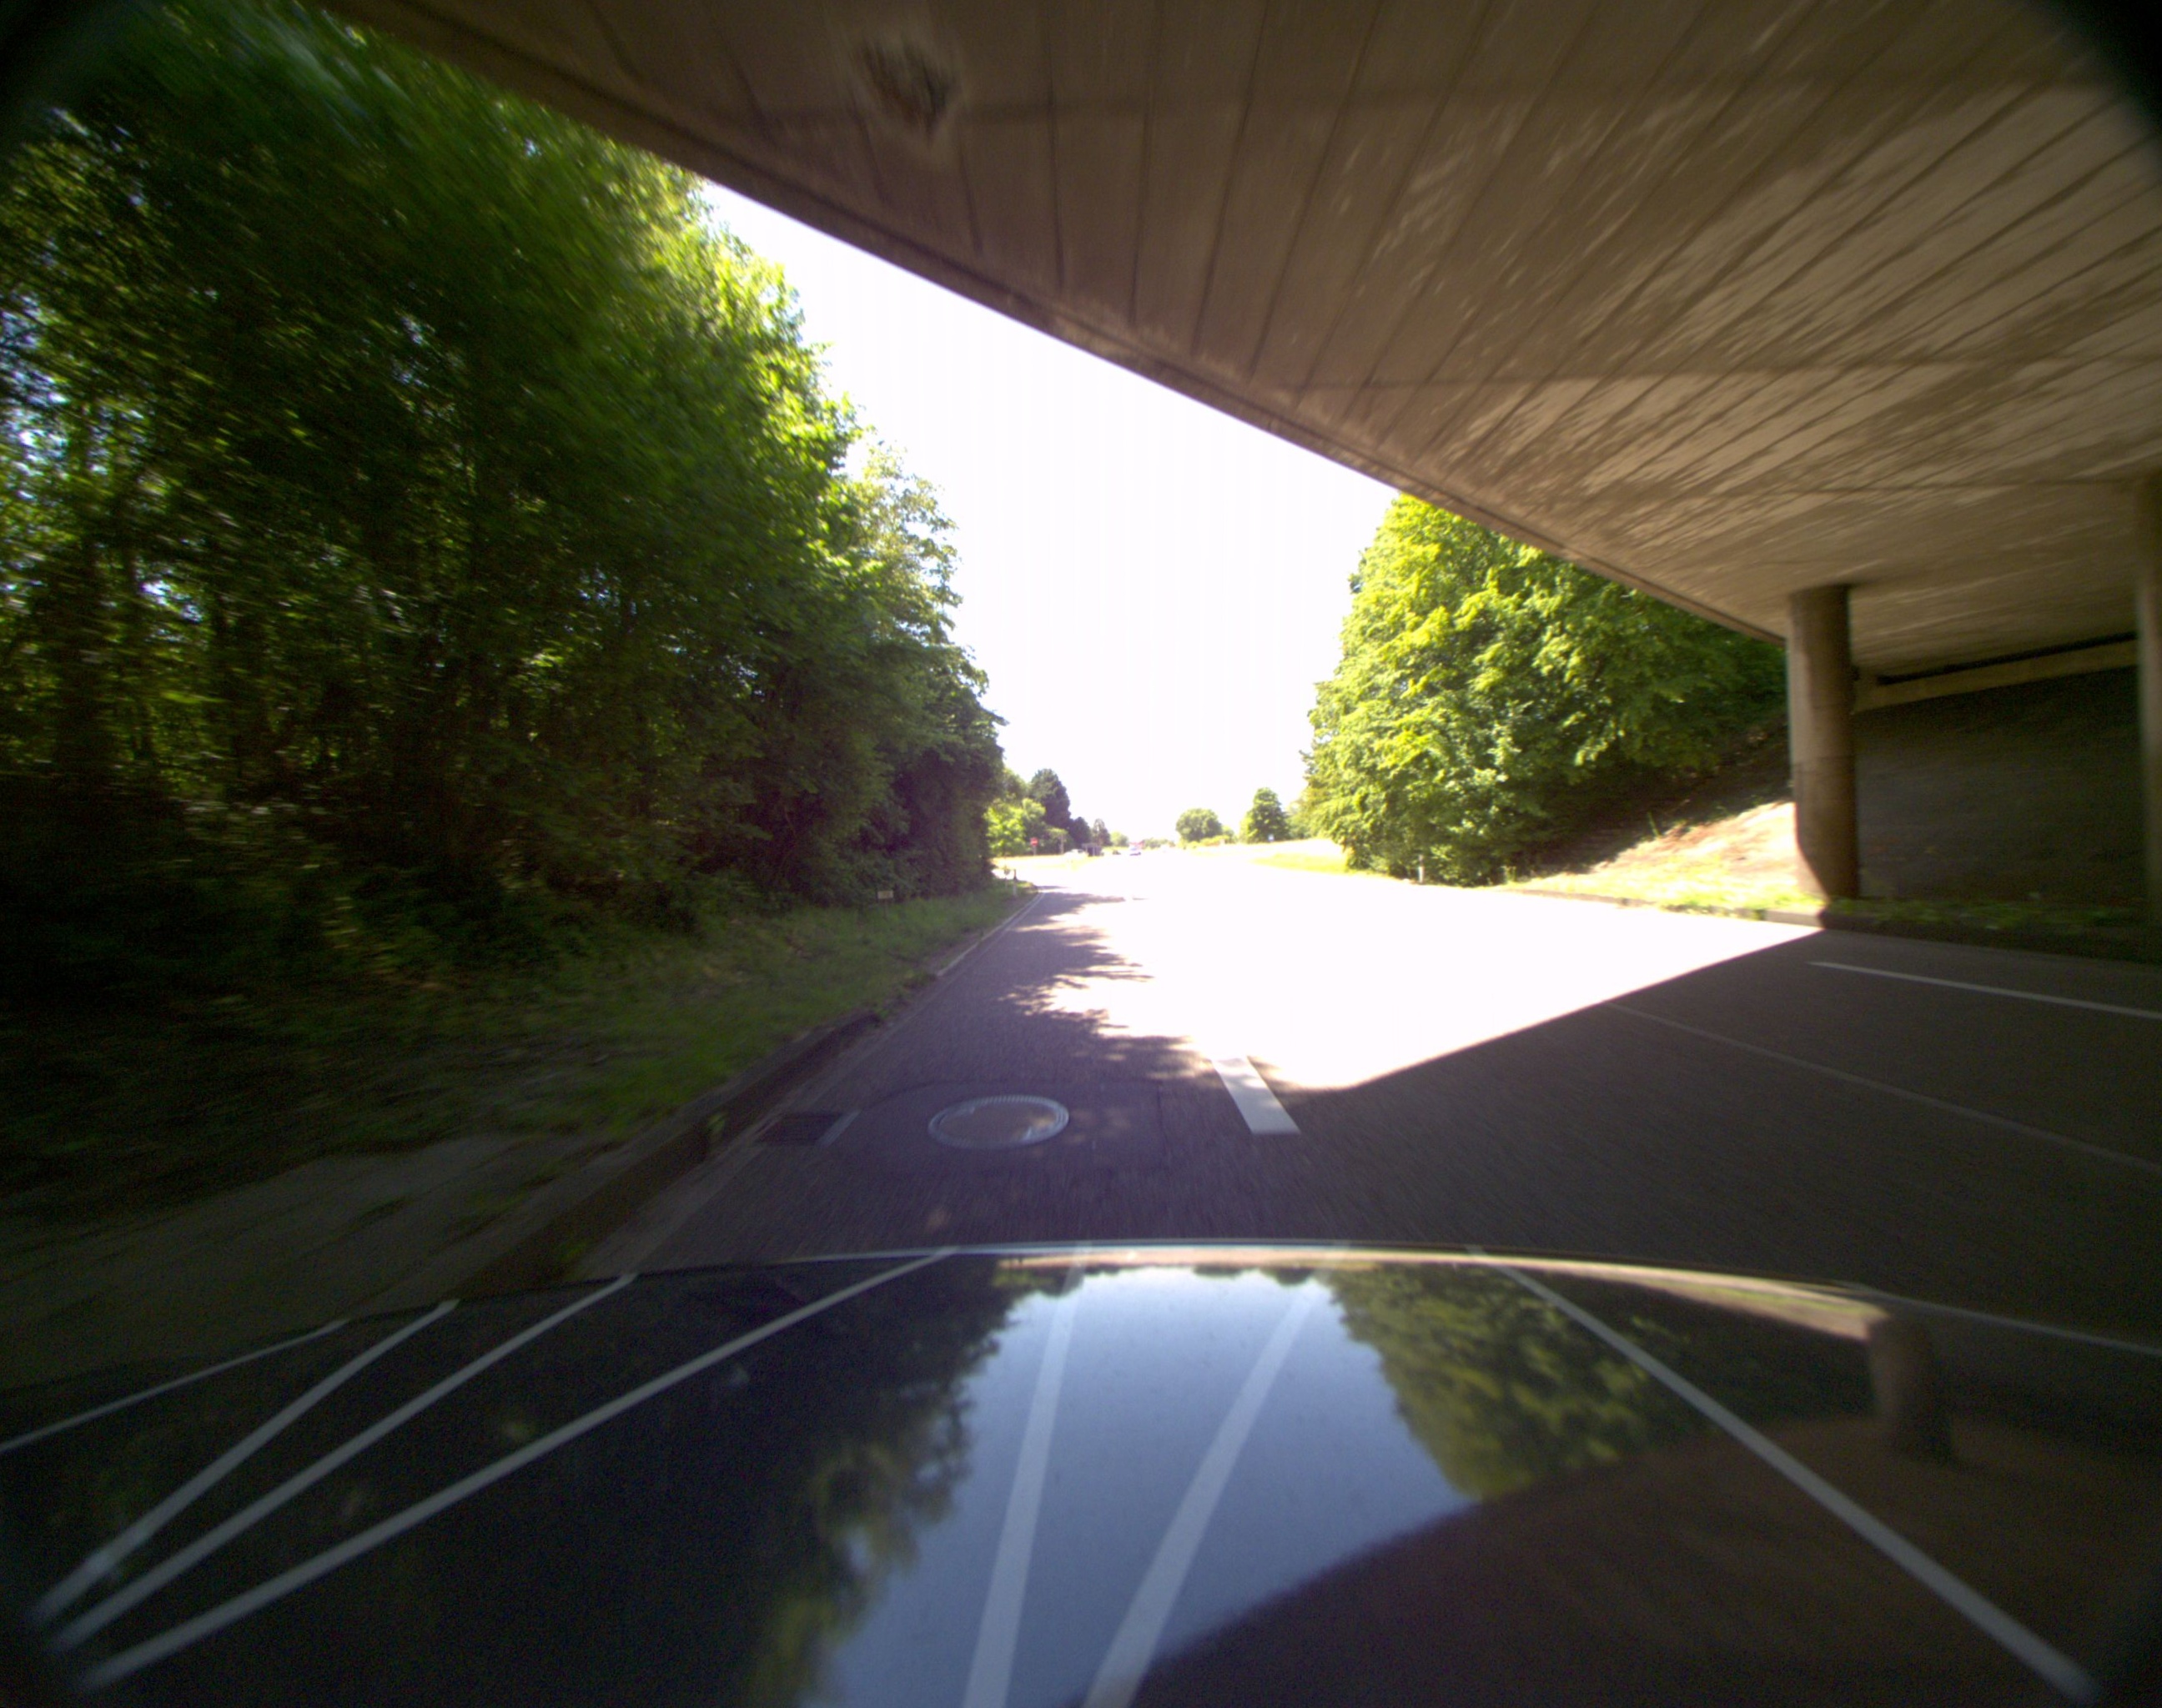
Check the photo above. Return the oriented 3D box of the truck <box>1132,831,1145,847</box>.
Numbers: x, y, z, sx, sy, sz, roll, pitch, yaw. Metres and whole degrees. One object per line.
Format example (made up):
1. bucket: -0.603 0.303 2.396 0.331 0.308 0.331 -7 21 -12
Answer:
1. truck: 11.372 -2.881 149.816 2.457 2.926 6.975 -1 1 4

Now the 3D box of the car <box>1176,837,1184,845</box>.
1. car: 26.174 -3.479 201.373 1.844 2.002 4.001 -2 1 6

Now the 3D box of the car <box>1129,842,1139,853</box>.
1. car: 9.131 -1.066 130.674 1.746 1.833 4.001 -1 1 4

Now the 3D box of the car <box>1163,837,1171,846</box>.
1. car: 20.961 -3.064 185.122 1.997 1.952 4.002 -1 1 7
